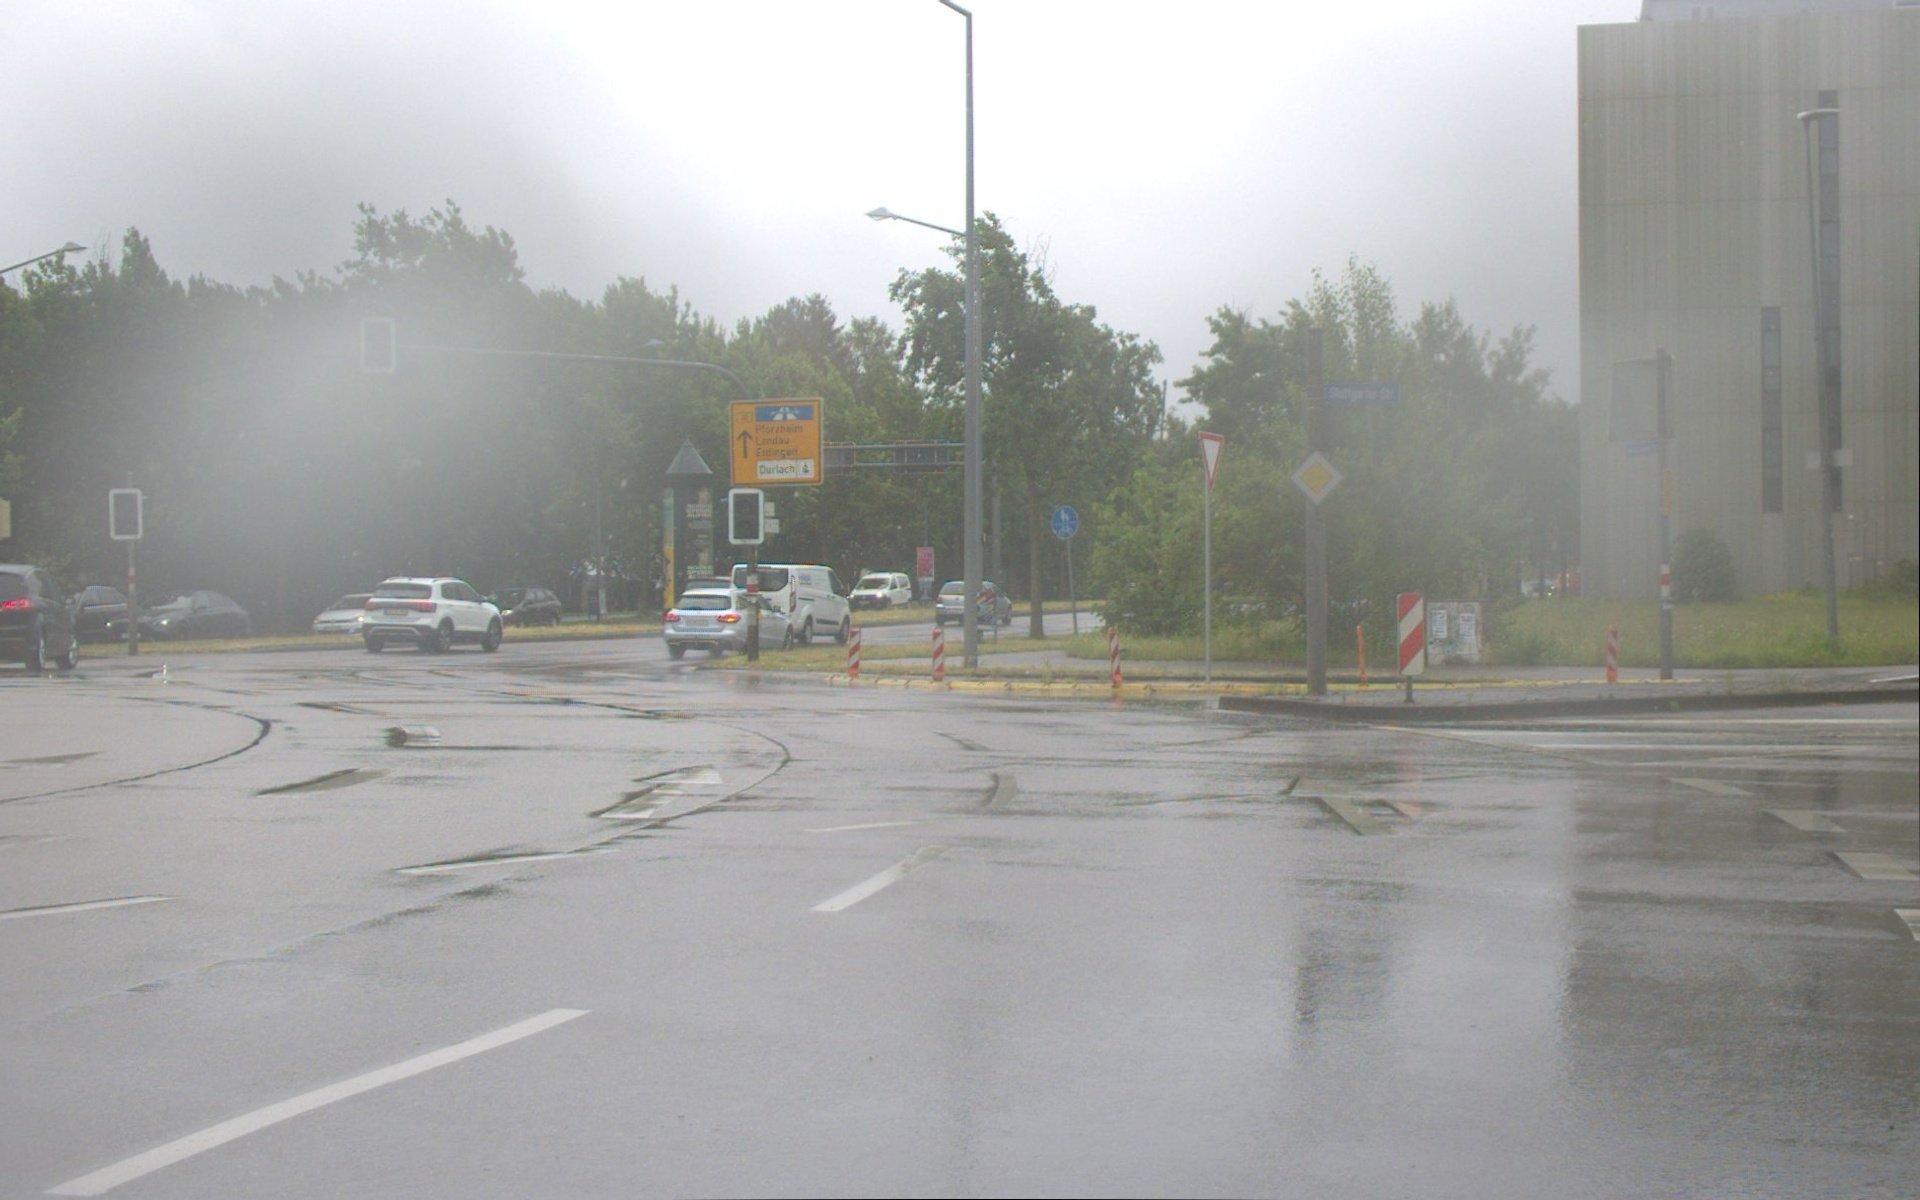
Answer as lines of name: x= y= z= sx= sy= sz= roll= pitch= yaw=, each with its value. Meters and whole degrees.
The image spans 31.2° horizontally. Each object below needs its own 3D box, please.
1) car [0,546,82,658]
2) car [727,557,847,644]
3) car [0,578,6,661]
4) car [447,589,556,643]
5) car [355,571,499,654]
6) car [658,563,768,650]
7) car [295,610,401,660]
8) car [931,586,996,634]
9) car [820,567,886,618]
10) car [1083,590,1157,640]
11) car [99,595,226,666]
car: x=-14.748 y=0.027 z=52.956 sx=1.783 sy=1.642 sz=4.001 roll=2 pitch=-1 yaw=-7
car: x=-4.276 y=0.027 z=85.526 sx=1.784 sy=2.029 sz=3.997 roll=2 pitch=-1 yaw=15
car: x=-21.163 y=0.307 z=67.305 sx=4.381 sy=1.642 sz=1.788 roll=2 pitch=-1 yaw=-40
car: x=-14.756 y=0.528 z=110.888 sx=1.785 sy=1.642 sz=3.995 roll=2 pitch=-1 yaw=20
car: x=-11.224 y=0.293 z=72.645 sx=1.681 sy=1.642 sz=3.945 roll=2 pitch=-1 yaw=12
car: x=-5.218 y=0.113 z=73.216 sx=1.783 sy=1.804 sz=4.837 roll=0 pitch=0 yaw=3
car: x=-17.916 y=1.041 z=100.767 sx=1.627 sy=1.371 sz=4.248 roll=2 pitch=-1 yaw=10
car: x=0.135 y=0.301 z=111.141 sx=1.689 sy=1.487 sz=3.250 roll=0 pitch=1 yaw=8
car: x=-4.493 y=-0.309 z=144.284 sx=1.789 sy=2.007 sz=3.671 roll=2 pitch=-1 yaw=14
car: x=5.052 y=0.464 z=108.341 sx=1.690 sy=1.487 sz=3.249 roll=0 pitch=1 yaw=14
car: x=-19.516 y=0.764 z=84.329 sx=1.783 sy=1.642 sz=4.393 roll=2 pitch=-1 yaw=4
